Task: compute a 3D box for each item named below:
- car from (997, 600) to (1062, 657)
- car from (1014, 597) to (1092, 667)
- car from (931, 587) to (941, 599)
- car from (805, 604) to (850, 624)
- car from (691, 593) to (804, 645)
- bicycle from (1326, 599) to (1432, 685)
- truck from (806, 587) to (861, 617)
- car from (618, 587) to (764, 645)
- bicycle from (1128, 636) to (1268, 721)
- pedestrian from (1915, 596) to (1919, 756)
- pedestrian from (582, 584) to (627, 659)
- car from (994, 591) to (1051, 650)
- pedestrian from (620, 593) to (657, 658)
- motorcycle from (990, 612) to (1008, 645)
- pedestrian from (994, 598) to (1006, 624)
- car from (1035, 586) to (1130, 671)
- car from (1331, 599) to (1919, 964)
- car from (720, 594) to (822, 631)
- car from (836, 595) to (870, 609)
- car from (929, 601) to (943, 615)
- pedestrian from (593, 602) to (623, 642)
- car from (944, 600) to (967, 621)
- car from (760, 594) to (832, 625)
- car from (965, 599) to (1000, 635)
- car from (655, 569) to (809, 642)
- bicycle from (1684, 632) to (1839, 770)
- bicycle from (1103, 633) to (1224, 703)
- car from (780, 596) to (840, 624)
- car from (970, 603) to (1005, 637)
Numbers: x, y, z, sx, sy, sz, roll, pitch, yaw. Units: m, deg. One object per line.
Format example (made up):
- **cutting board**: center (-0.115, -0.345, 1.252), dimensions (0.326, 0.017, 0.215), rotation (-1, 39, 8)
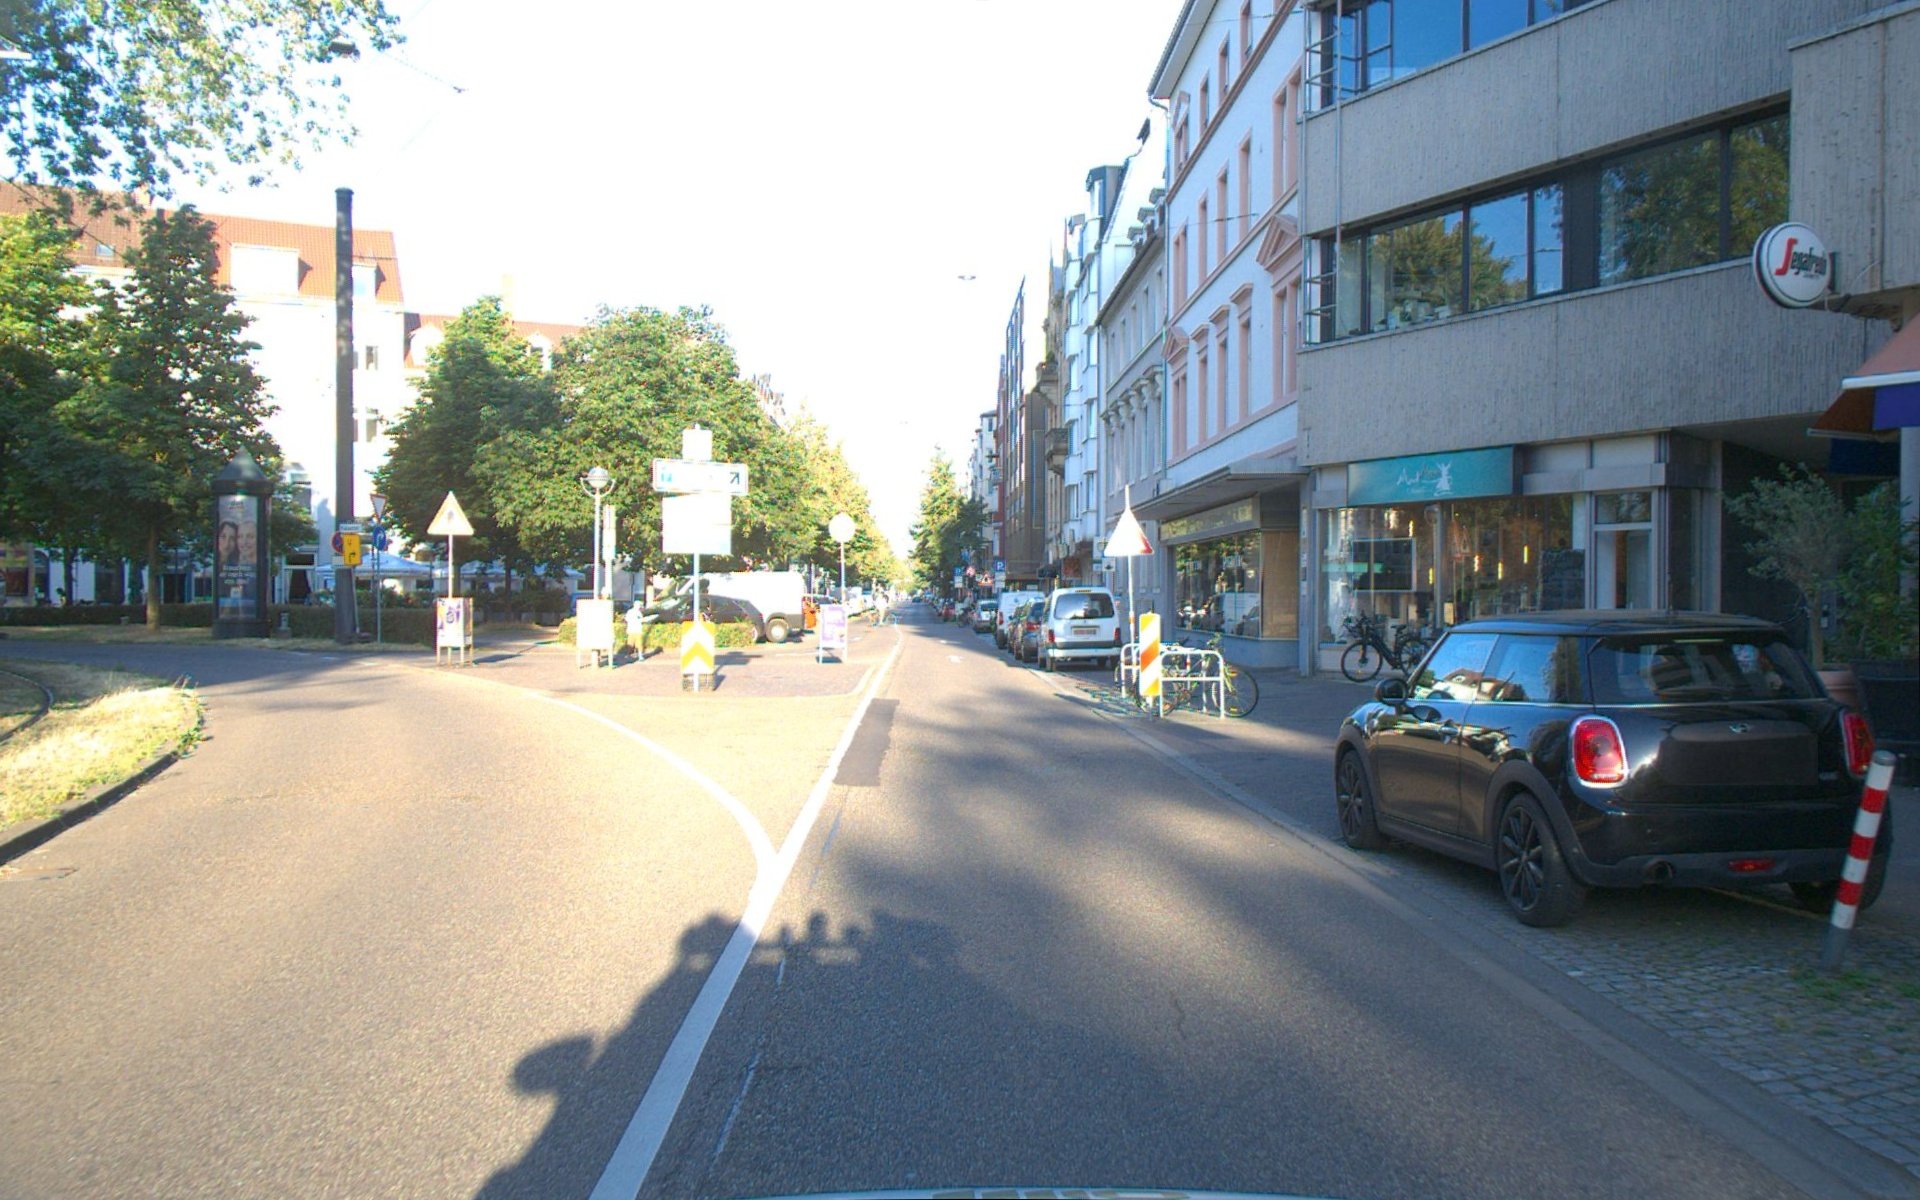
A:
- **car**: center (2.044, 0.825, 49.492), dimensions (1.633, 1.571, 3.881), rotation (1, 0, -2)
- **car**: center (2.361, 0.800, 42.930), dimensions (1.623, 1.694, 4.106), rotation (1, 0, -2)
- **car**: center (-3.350, -0.932, 230.673), dimensions (1.283, 1.628, 2.658), rotation (1, -1, -4)
- **car**: center (-11.123, 1.179, 139.420), dimensions (3.664, 1.624, 1.999), rotation (1, 0, -2)
- **car**: center (-8.227, 0.744, 64.196), dimensions (3.958, 1.911, 1.846), rotation (1, 0, -38)
- **bicycle**: center (6.716, 0.686, 26.561), dimensions (0.412, 1.299, 1.637), rotation (0, -3, -44)
- **truck**: center (-11.532, 0.164, 150.972), dimensions (4.841, 2.661, 1.999), rotation (0, -1, -2)
- **car**: center (-7.790, 0.448, 48.011), dimensions (3.850, 1.610, 1.776), rotation (1, 0, -41)
- **bicycle**: center (3.110, 1.024, 21.590), dimensions (1.749, 1.007, 0.542), rotation (-2, 1, 10)
- **pedestrian**: center (8.138, 0.617, 13.212), dimensions (0.690, 1.300, 0.537), rotation (-1, 0, -2)
- **pedestrian**: center (-7.676, 0.456, 35.737), dimensions (0.692, 1.586, 0.685), rotation (1, 0, -39)
- **car**: center (2.056, 0.650, 55.511), dimensions (1.675, 1.867, 4.305), rotation (1, 0, -1)
- **pedestrian**: center (-7.027, 0.558, 36.160), dimensions (0.558, 1.388, 0.606), rotation (1, 0, -39)
- **motorcycle**: center (1.522, 1.112, 64.980), dimensions (0.576, 1.221, 2.209), rotation (1, 0, -2)
- **pedestrian**: center (2.664, 0.736, 110.380), dimensions (0.750, 1.718, 0.785), rotation (-1, 0, -4)
- **car**: center (2.718, 0.620, 37.539), dimensions (1.756, 1.823, 4.090), rotation (0, 0, -1)
- **car**: center (3.400, 0.790, 9.153), dimensions (1.753, 1.534, 3.920), rotation (1, 0, -1)
- **car**: center (-8.173, 0.548, 71.656), dimensions (3.946, 1.512, 1.979), rotation (1, 0, -31)
- **car**: center (-11.879, 0.209, 183.829), dimensions (3.664, 1.519, 1.999), rotation (1, 0, -2)
- **car**: center (-2.365, 0.756, 160.607), dimensions (1.182, 1.323, 2.658), rotation (1, -1, -4)
- **pedestrian**: center (-11.651, 0.733, 54.694), dimensions (0.741, 1.300, 0.652), rotation (1, 0, -39)
- **car**: center (-0.366, 0.855, 128.668), dimensions (1.545, 1.570, 3.394), rotation (1, -1, -4)
- **car**: center (-10.365, 0.588, 104.543), dimensions (4.359, 1.867, 2.033), rotation (1, 0, -2)
- **car**: center (1.147, 0.862, 86.703), dimensions (1.662, 1.800, 3.998), rotation (0, 0, -2)
- **car**: center (-7.515, 0.194, 54.558), dimensions (4.547, 2.290, 2.182), rotation (2, -1, -29)
- **bicycle**: center (6.790, 0.819, 13.972), dimensions (1.875, 1.022, 0.452), rotation (-2, 0, -41)
- **bicycle**: center (3.143, 1.047, 25.576), dimensions (1.751, 1.007, 0.542), rotation (-2, 1, 21)
- **car**: center (-10.090, 0.667, 111.637), dimensions (3.909, 1.738, 1.832), rotation (1, 0, -2)
- **car**: center (1.337, 0.960, 81.685), dimensions (1.646, 1.588, 4.000), rotation (-1, 0, 1)
